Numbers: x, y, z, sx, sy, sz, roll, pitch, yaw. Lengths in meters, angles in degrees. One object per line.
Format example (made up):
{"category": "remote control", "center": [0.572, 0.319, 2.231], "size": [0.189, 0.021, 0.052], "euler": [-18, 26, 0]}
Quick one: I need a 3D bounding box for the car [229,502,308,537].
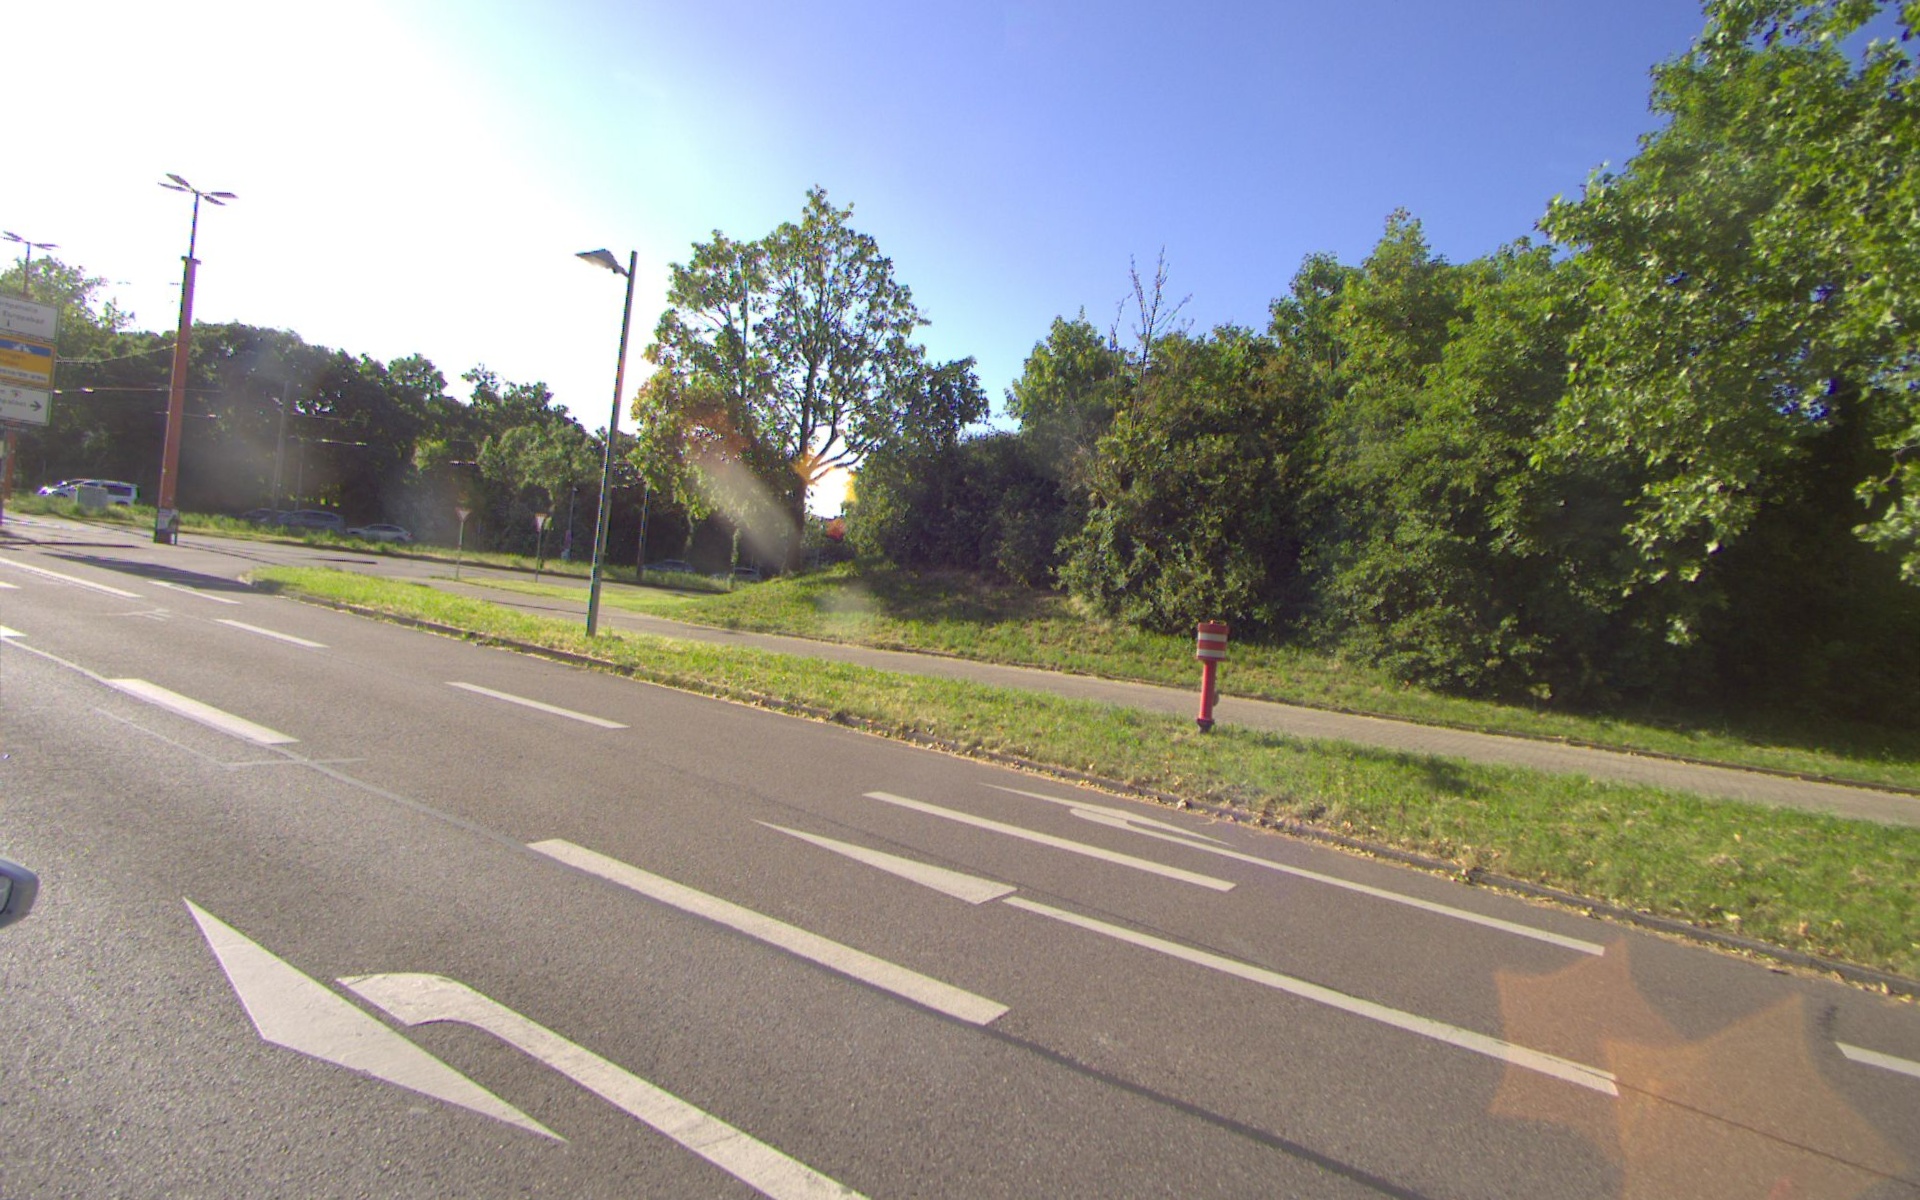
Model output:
{"category": "car", "center": [-44.327, -5.120, 64.608], "size": [3.960, 1.579, 1.884], "euler": [8, -1, -32]}

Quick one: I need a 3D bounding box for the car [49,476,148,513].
{"category": "car", "center": [-49.354, -6.036, 57.732], "size": [3.960, 1.353, 1.715], "euler": [8, -1, -32]}

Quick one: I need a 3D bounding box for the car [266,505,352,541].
{"category": "car", "center": [-40.716, -4.785, 63.038], "size": [4.324, 1.577, 1.856], "euler": [8, -1, -33]}

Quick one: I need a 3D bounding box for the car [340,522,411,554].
{"category": "car", "center": [-39.172, -4.151, 67.472], "size": [3.960, 1.513, 1.846], "euler": [8, -1, -32]}

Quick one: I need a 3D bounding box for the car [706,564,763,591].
{"category": "car", "center": [-18.192, -1.818, 81.189], "size": [3.959, 1.546, 1.845], "euler": [8, -1, -31]}

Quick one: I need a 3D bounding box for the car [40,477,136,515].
{"category": "car", "center": [-51.829, -6.141, 59.912], "size": [3.961, 1.493, 1.774], "euler": [8, -1, -33]}

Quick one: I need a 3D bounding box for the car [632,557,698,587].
{"category": "car", "center": [-21.948, -2.077, 74.925], "size": [4.231, 1.646, 1.913], "euler": [8, -1, -31]}
